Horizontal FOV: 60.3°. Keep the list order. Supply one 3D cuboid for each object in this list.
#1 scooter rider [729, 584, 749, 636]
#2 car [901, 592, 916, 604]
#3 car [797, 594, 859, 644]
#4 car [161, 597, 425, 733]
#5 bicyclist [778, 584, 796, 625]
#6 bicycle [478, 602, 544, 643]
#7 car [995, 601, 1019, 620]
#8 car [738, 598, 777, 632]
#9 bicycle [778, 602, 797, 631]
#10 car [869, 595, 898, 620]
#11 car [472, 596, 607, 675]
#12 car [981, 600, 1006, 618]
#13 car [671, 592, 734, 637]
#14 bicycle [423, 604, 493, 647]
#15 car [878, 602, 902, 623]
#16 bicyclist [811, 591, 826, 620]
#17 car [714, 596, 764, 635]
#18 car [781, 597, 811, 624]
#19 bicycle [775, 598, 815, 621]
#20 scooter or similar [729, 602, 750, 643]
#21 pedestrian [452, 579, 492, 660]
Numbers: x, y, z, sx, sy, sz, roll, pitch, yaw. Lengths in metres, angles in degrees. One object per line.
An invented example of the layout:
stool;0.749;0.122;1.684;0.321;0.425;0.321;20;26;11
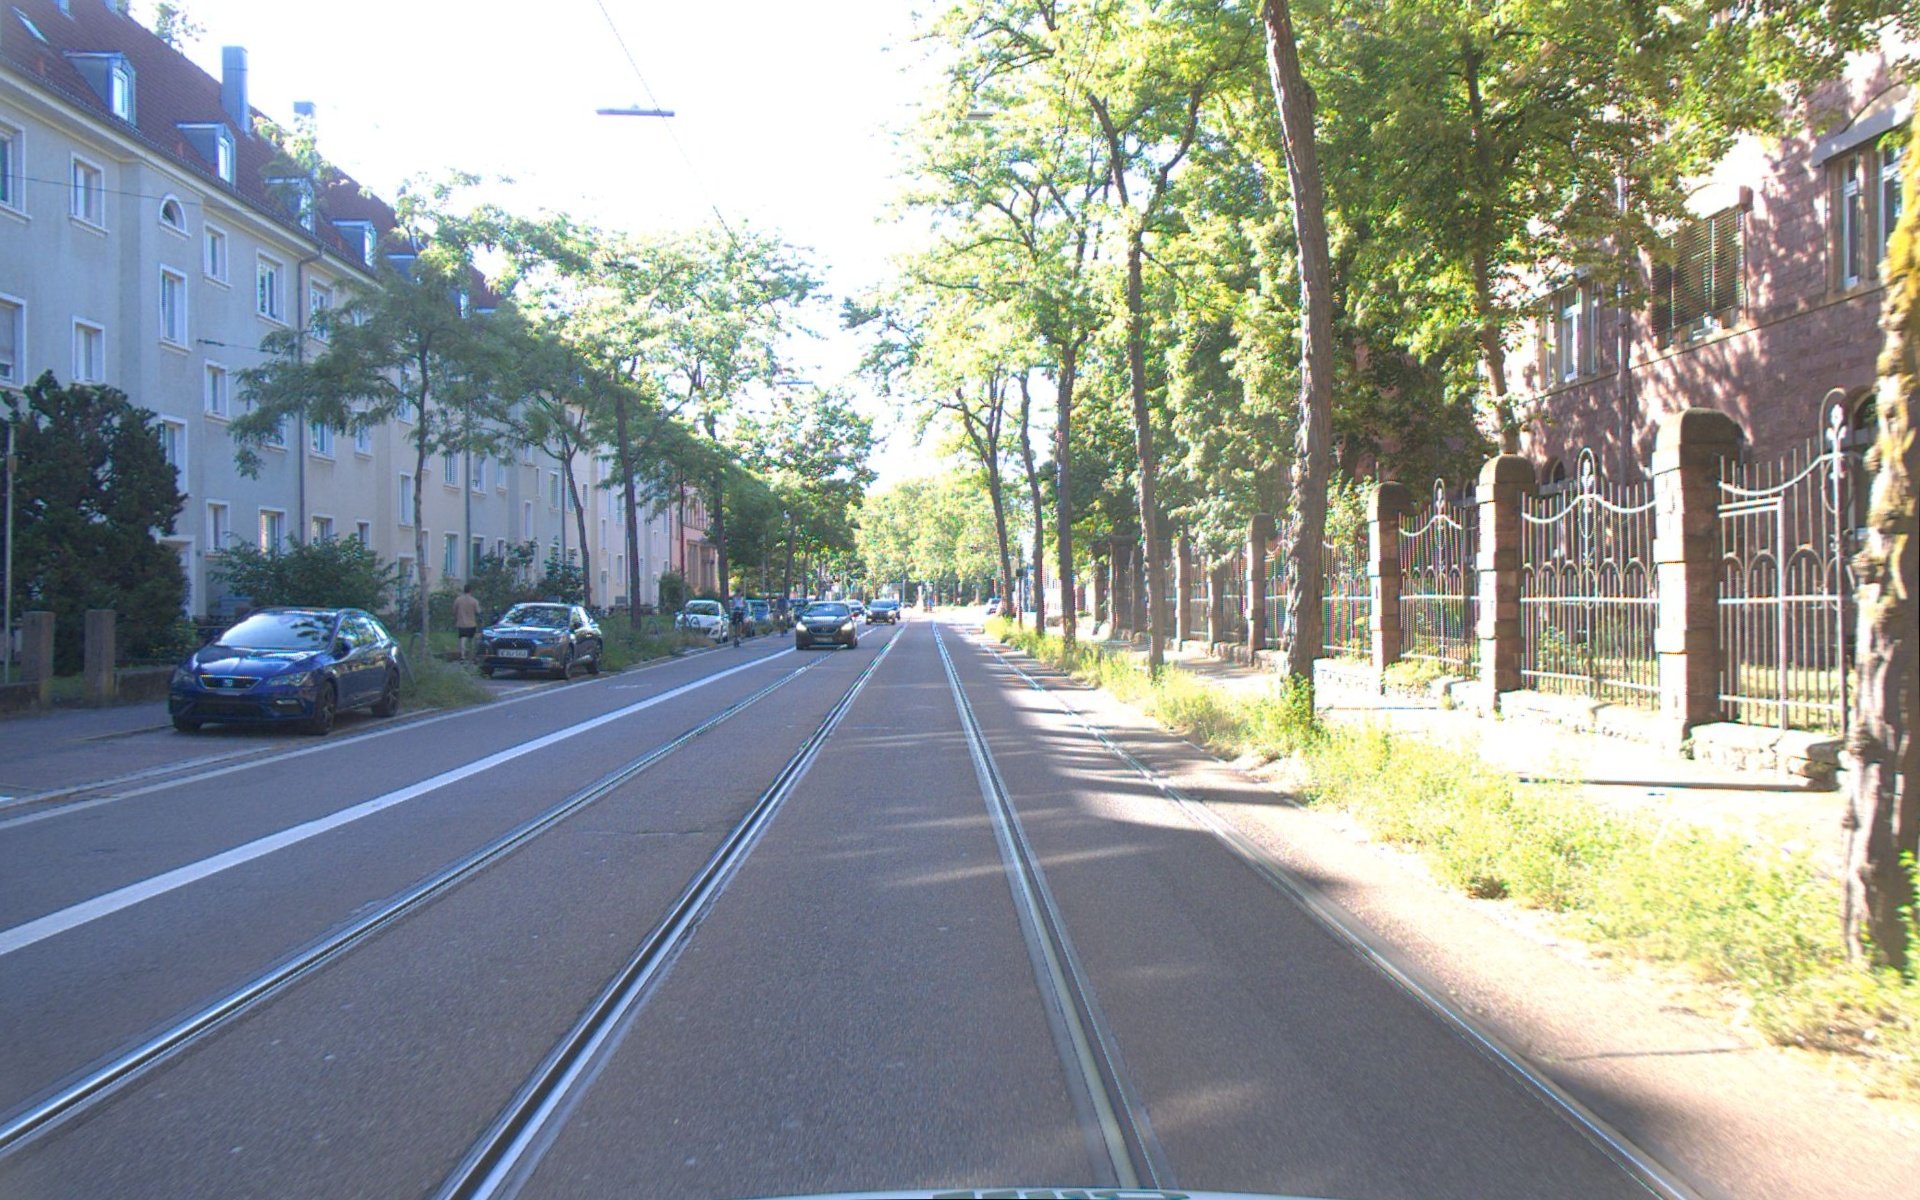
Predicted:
scooter rider;-7.452;0.337;55.792;0.486;1.729;0.786;-3;0;-1
car;-7.188;-0.225;231.015;1.905;1.638;3.995;0;0;-6
car;-4.003;0.545;50.821;1.722;1.464;4.521;0;0;-2
car;-8.391;0.742;21.257;1.722;1.537;4.436;1;0;-2
bicyclist;-7.283;0.189;69.591;0.613;1.667;0.940;-3;0;-1
bicycle;-13.933;0.693;51.372;1.869;1.198;0.521;2;0;-4
car;4.153;0.930;146.645;1.802;1.684;3.577;0;0;-3
car;-9.617;0.698;78.616;1.529;1.482;3.928;2;0;-3
bicycle;-7.271;0.686;69.715;0.614;1.198;1.912;-3;0;-1
car;-4.549;0.441;98.271;1.665;1.464;4.069;0;0;-2
car;-8.607;0.689;34.217;1.780;1.511;4.205;1;0;-1
car;3.186;0.861;159.863;1.905;1.638;3.994;0;0;-6
car;-9.335;0.507;60.205;1.668;1.511;4.078;2;0;-1
bicycle;-14.816;0.753;48.814;1.869;1.198;0.521;2;0;-4
car;-5.125;0.915;121.235;1.665;1.497;4.069;0;0;-2
bicyclist;-8.098;0.326;94.817;0.695;1.635;0.865;-3;0;-1
car;-9.216;0.621;69.153;1.653;1.511;3.758;2;0;-2
car;-10.574;0.659;106.951;1.711;1.597;4.066;2;0;-4
bicycle;-9.687;0.556;97.413;2.236;1.219;0.560;2;1;5
scooter or similar;-7.432;0.746;55.784;0.510;1.320;1.377;-3;0;-1
pedestrian;-11.313;0.443;38.336;0.677;1.833;0.813;-1;0;-1
